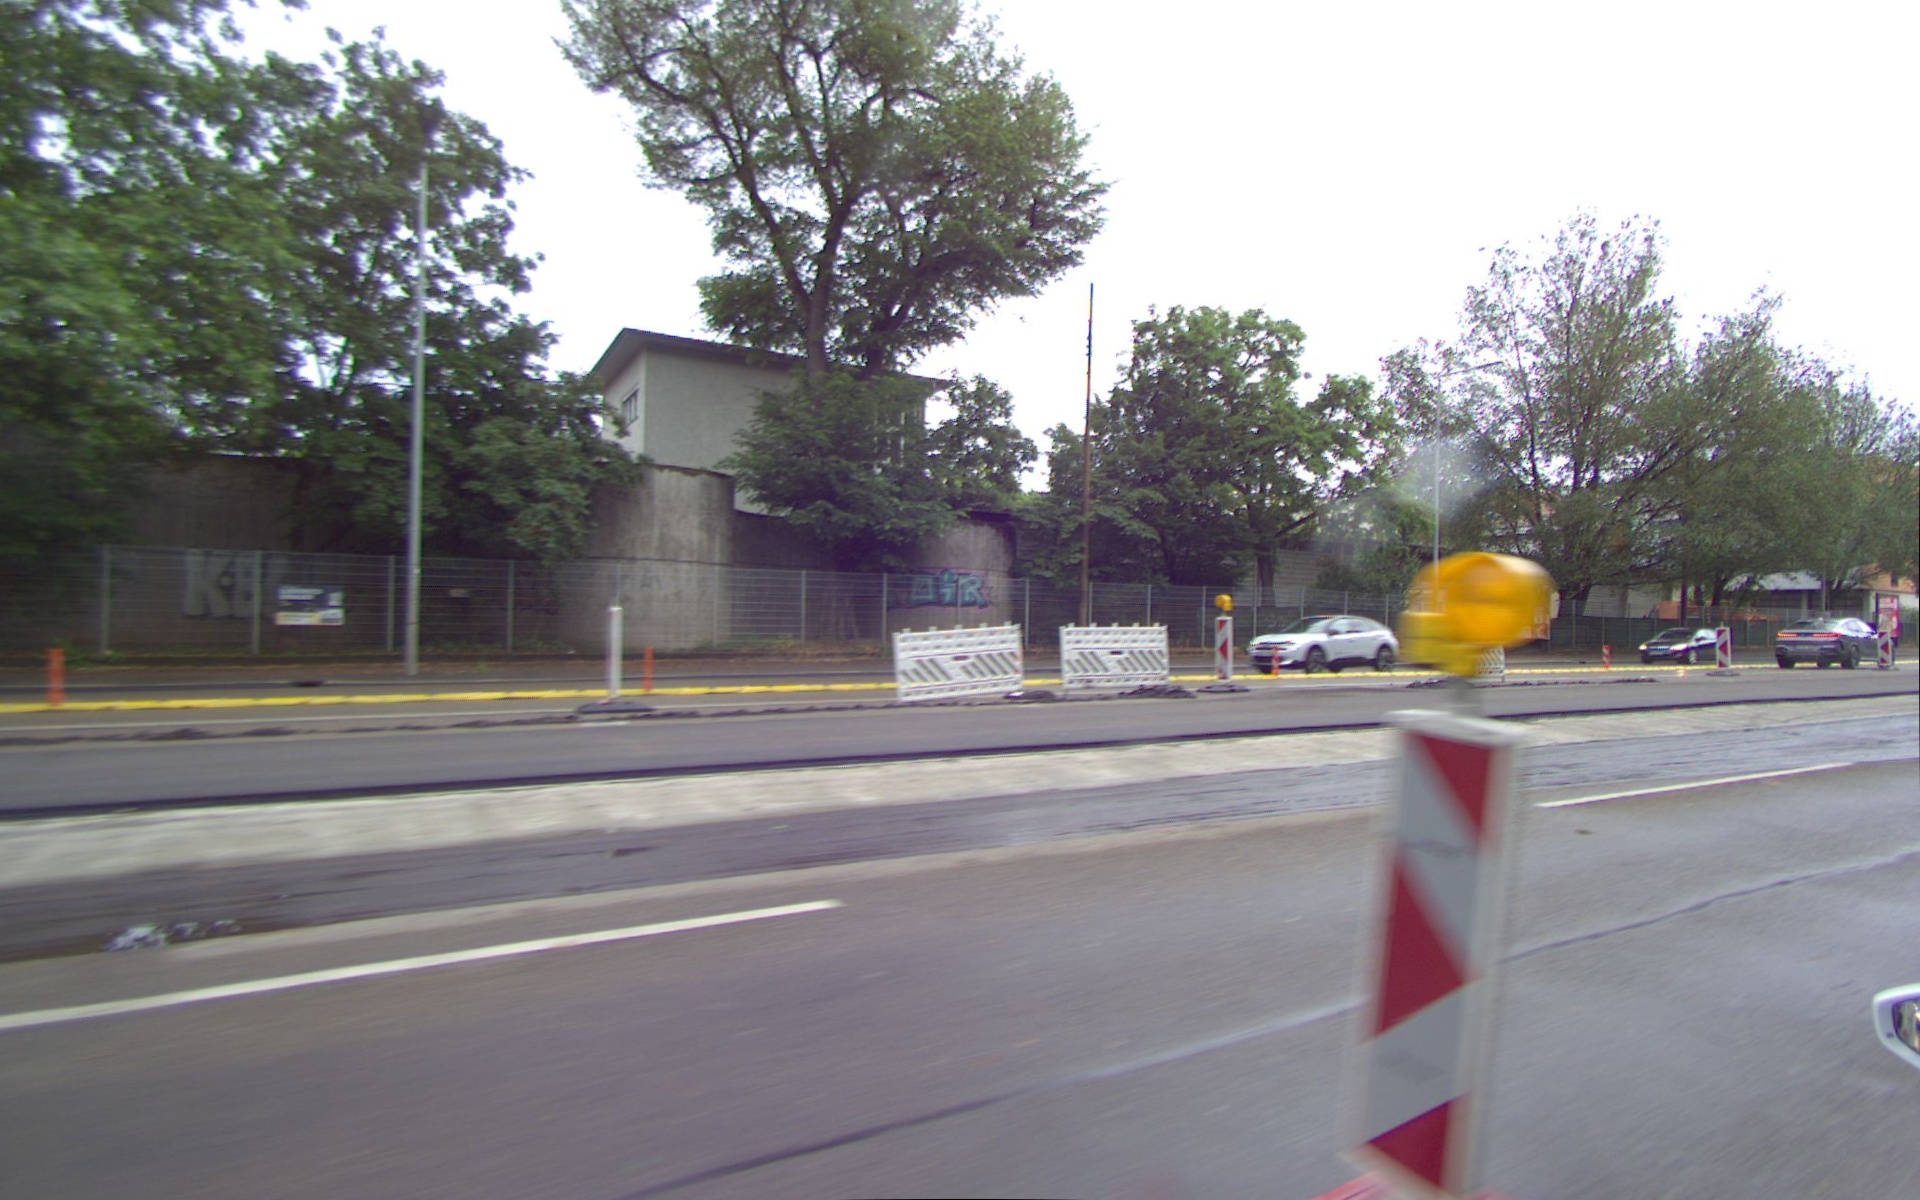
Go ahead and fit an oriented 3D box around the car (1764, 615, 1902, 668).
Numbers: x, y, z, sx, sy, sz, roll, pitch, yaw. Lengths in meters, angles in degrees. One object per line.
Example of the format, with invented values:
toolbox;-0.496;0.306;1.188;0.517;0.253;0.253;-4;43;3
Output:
car;29.440;1.391;33.853;4.998;1.635;2.066;2;0;-31

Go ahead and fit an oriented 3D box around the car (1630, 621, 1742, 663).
car;29.423;1.691;40.700;4.564;1.607;1.984;1;-1;-30

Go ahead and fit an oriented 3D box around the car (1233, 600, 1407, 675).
car;9.378;0.960;26.139;4.228;1.790;1.984;2;0;-30
